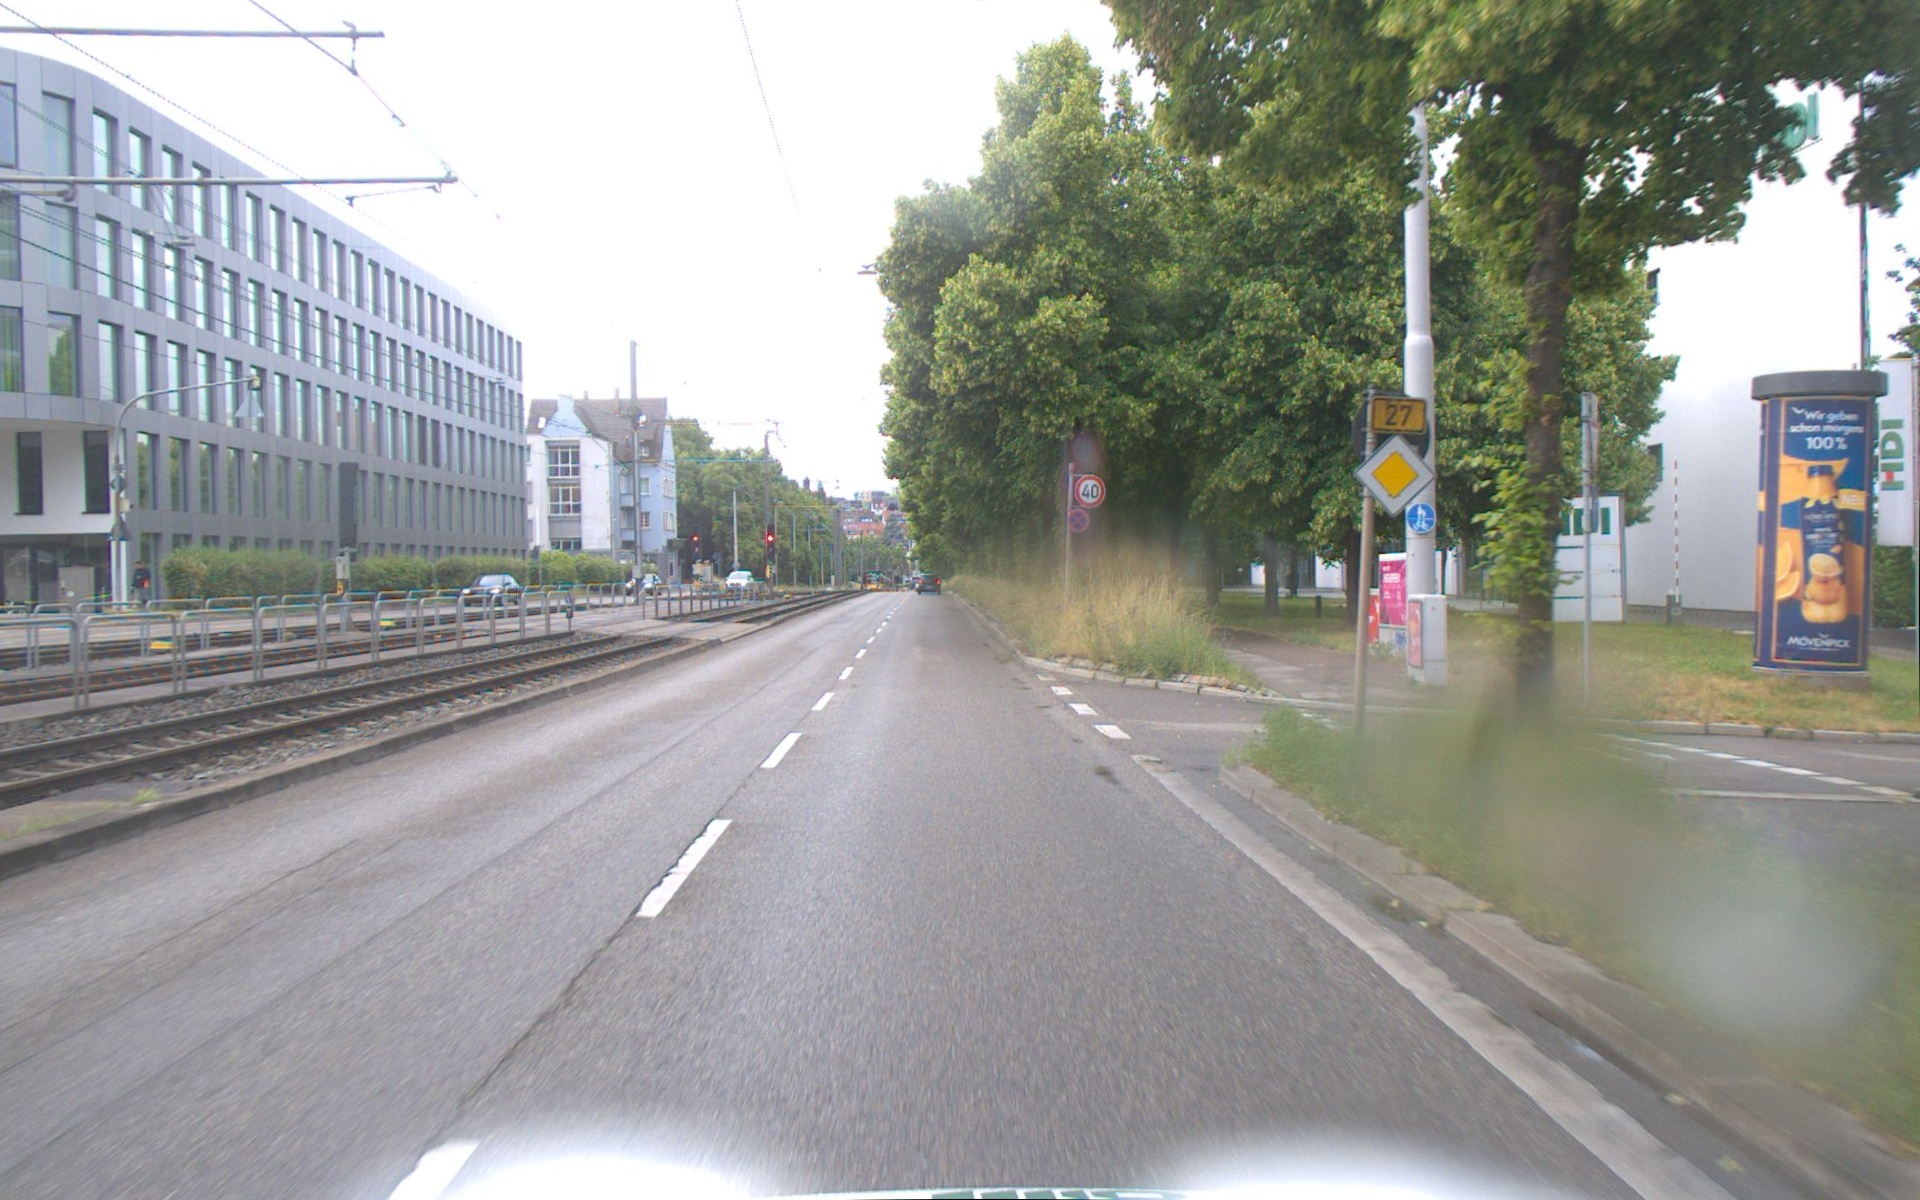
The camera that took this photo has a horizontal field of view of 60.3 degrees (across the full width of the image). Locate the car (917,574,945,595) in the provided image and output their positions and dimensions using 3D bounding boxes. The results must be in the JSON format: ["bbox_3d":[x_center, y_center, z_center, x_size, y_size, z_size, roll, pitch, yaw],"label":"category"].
[{"bbox_3d":[-2.029,-1.113,118.005,1.942,1.466,4.473,-1,1,-1],"label":"car"}]

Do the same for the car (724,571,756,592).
[{"bbox_3d":[-17.402,-1.475,131.160,1.863,1.673,4.884,-1,1,0],"label":"car"}]

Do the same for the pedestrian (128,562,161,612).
[{"bbox_3d":[-27.761,-0.454,56.324,0.709,1.676,0.845,0,0,-1],"label":"pedestrian"}]

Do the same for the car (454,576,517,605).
[{"bbox_3d":[-21.389,-0.441,74.715,1.720,1.265,3.987,-1,1,-1],"label":"car"}]
